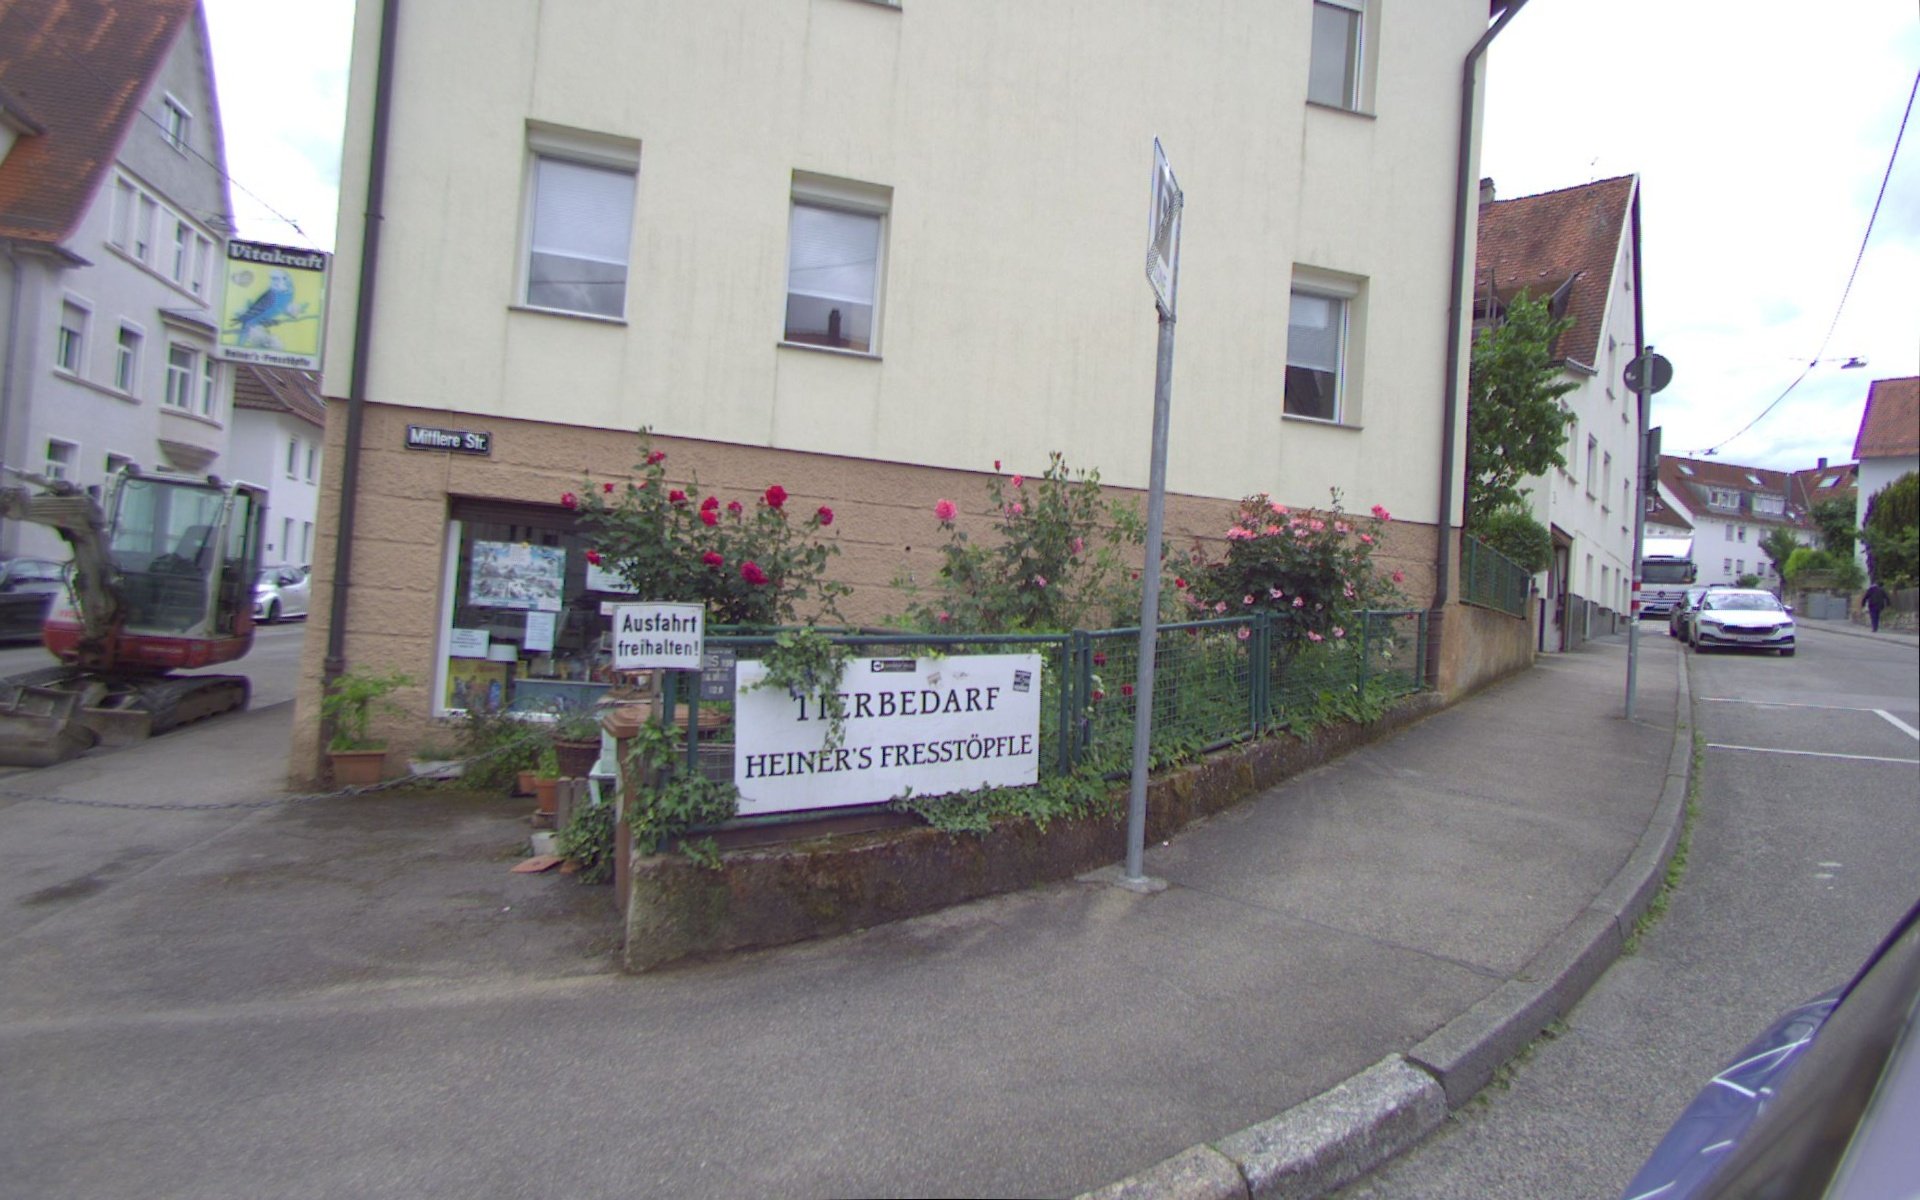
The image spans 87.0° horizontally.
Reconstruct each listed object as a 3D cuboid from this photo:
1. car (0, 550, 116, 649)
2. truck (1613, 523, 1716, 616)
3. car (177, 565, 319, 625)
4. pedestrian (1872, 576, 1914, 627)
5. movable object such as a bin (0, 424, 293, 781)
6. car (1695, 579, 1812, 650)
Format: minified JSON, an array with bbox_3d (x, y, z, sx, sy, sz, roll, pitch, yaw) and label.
[{"bbox_3d":[-15.223,-0.033,15.663,1.662,1.468,4.112,0,1,-13],"label":"car"},{"bbox_3d":[30.323,-1.309,43.872,2.660,3.642,8.027,1,2,28],"label":"truck"},{"bbox_3d":[-18.005,-0.137,25.788,1.662,1.407,3.809,0,1,-13],"label":"car"},{"bbox_3d":[31.864,0.044,34.564,0.835,1.698,0.967,0,1,30],"label":"pedestrian"},{"bbox_3d":[-7.960,-0.079,9.335,1.539,2.531,4.685,5,0,-17],"label":"movable object such as a bin"},{"bbox_3d":[18.355,0.258,23.586,1.788,1.463,4.247,0,2,33],"label":"car"}]
